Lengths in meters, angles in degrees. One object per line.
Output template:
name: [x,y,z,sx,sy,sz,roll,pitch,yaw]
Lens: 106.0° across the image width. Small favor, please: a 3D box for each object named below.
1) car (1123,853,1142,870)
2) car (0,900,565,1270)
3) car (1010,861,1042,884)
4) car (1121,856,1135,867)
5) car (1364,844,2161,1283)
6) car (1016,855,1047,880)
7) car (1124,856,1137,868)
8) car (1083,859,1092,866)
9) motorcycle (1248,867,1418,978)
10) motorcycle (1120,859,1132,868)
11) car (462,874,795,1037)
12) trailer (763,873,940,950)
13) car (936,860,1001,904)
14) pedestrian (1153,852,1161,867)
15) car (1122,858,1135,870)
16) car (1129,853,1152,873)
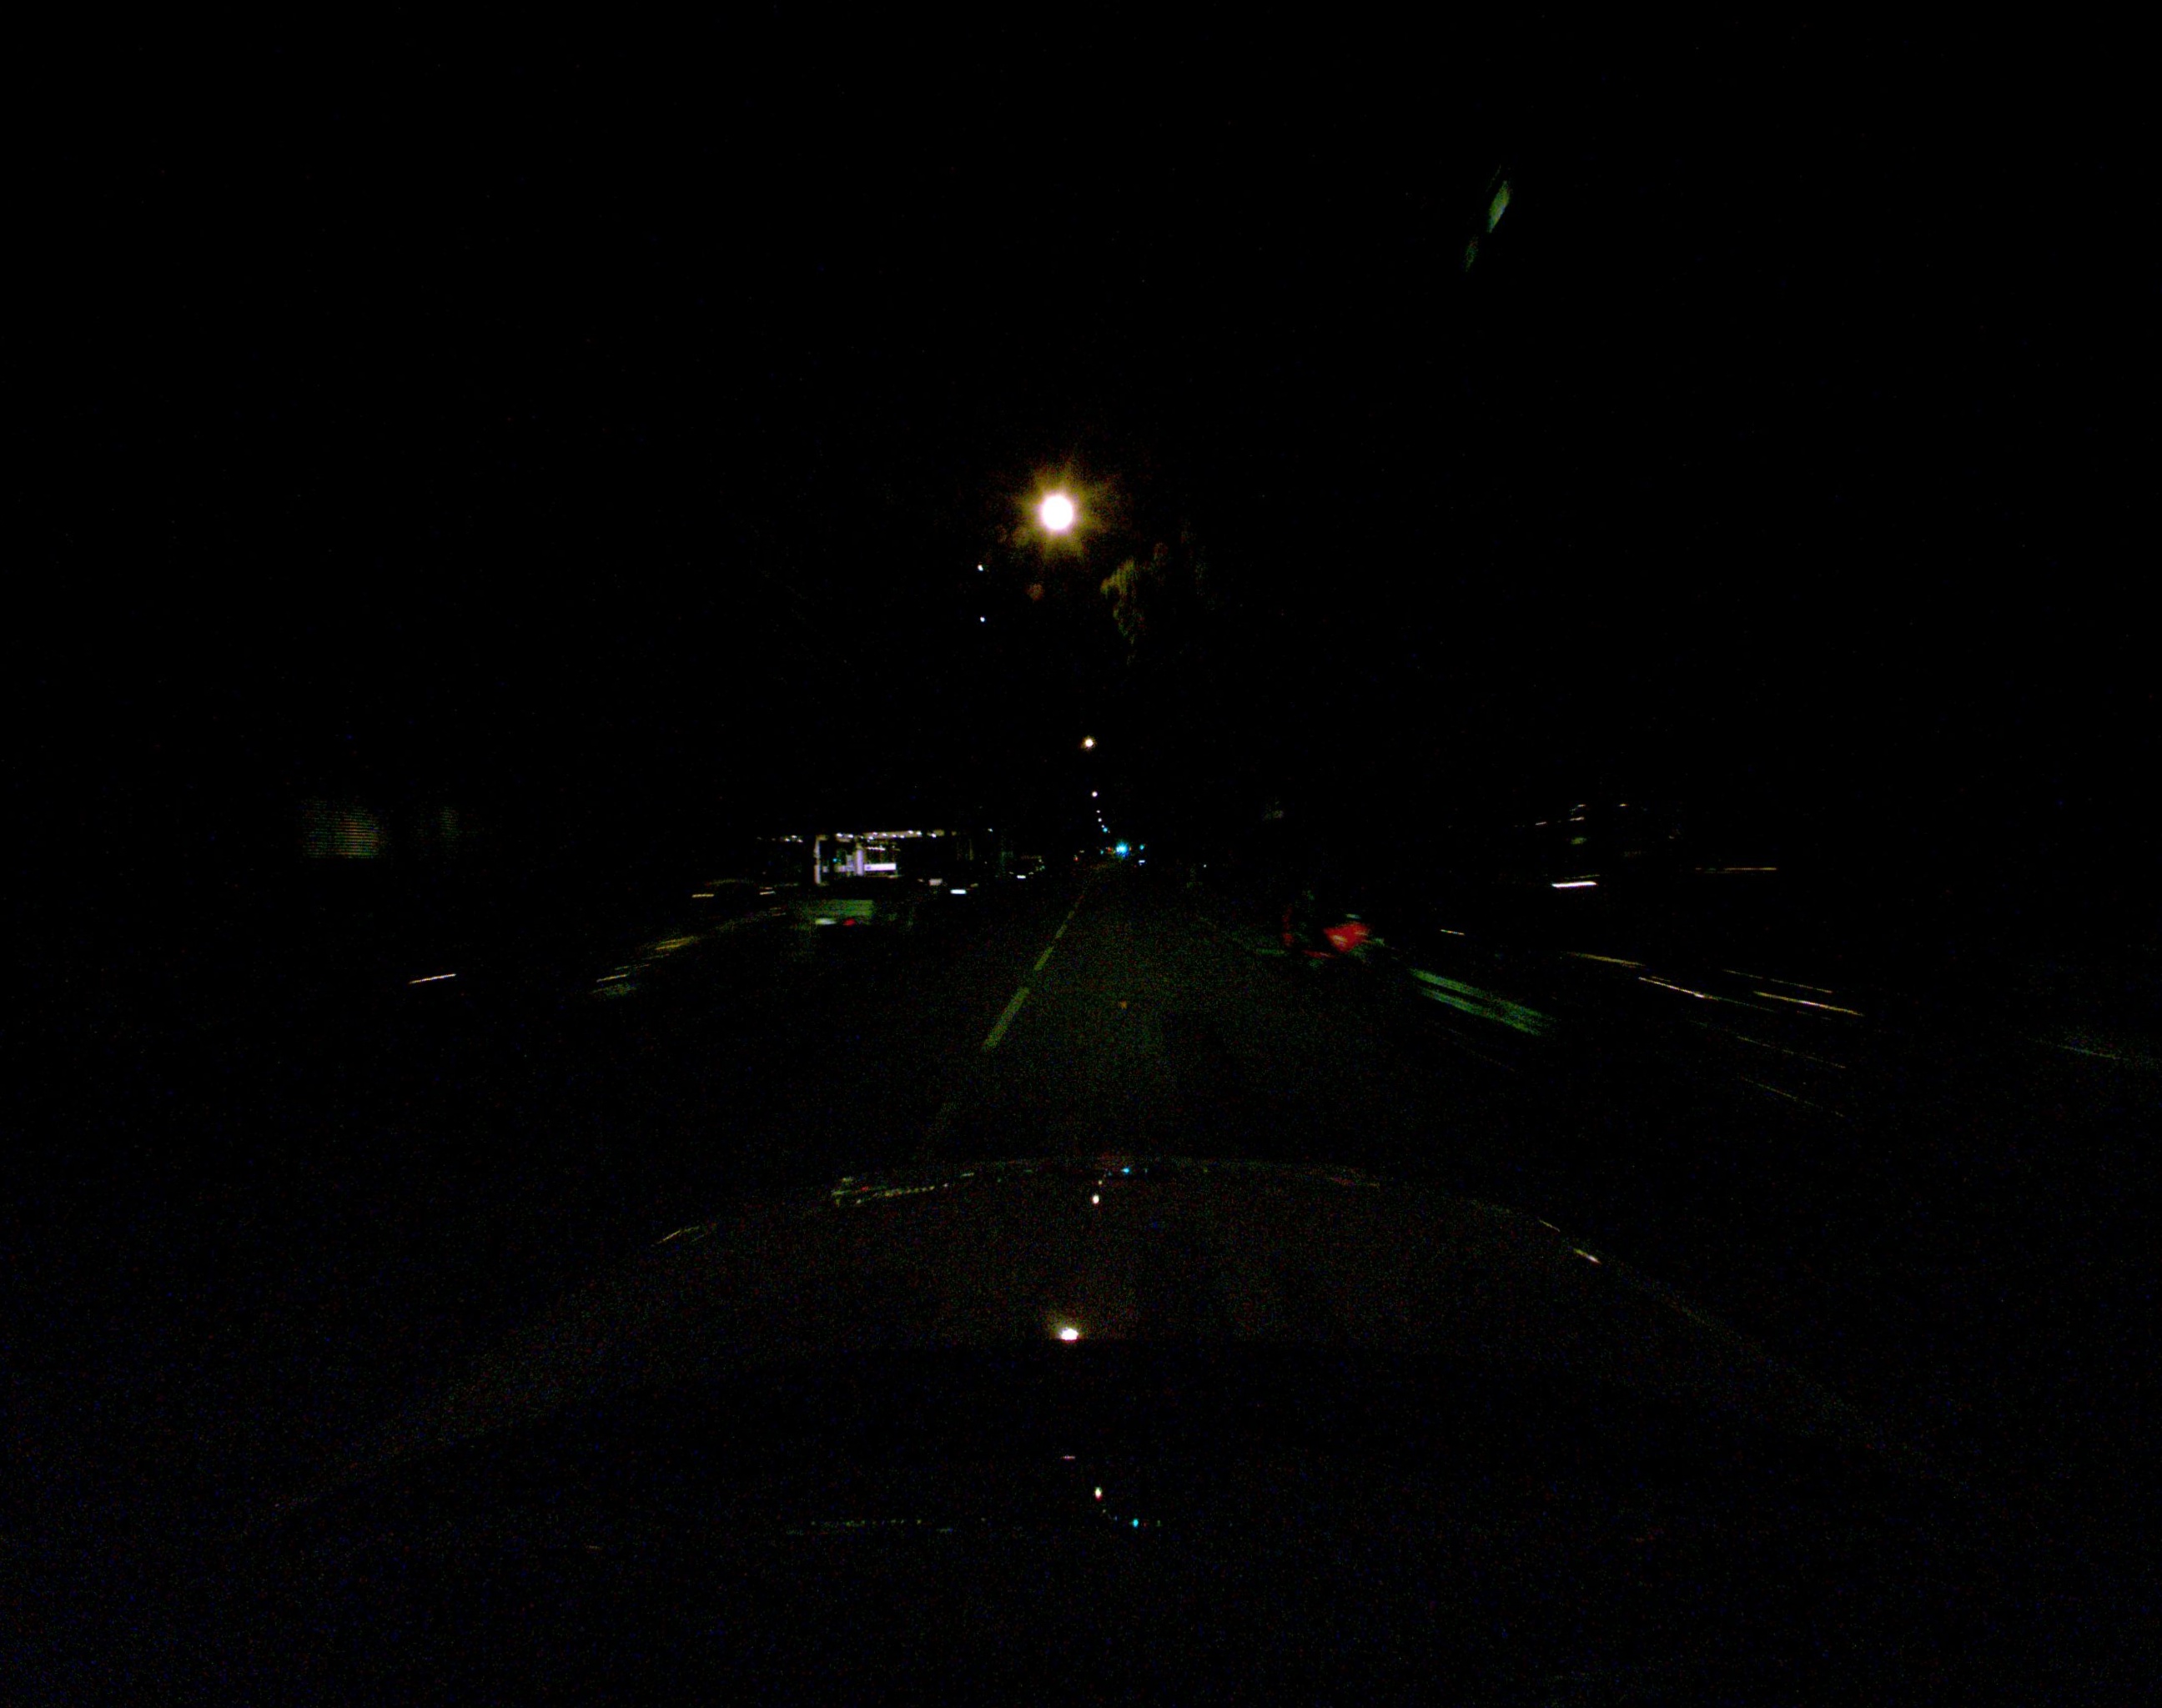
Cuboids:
car: [6.036,0.895,95.594,1.766,1.807,4.276,-4,0,-1]
car: [-5.456,1.092,4.860,1.698,1.411,4.634,0,0,1]
car: [-3.693,1.237,54.865,1.693,1.433,3.831,1,0,3]
car: [6.889,1.079,119.972,1.846,1.590,4.301,-2,0,1]
car: [3.171,0.739,4.899,1.661,1.429,4.152,-4,0,4]
car: [-3.702,0.988,61.190,1.815,1.811,4.213,1,0,3]
car: [6.802,1.110,112.427,1.585,1.534,4.139,-4,0,1]
car: [1.442,1.888,183.584,1.734,1.416,3.754,-2,0,2]
motorcycle: [3.316,0.848,11.004,0.930,1.283,2.217,-3,0,-23]
motorcycle: [6.376,1.374,116.442,0.630,1.270,2.077,-2,-1,36]
car: [-5.196,1.050,10.137,1.710,1.502,4.206,1,0,1]
trailer: [-4.802,1.146,18.082,2.102,1.335,5.439,0,0,3]
car: [-4.477,1.056,32.860,1.815,1.599,4.076,1,0,3]
pedestrian: [8.653,0.635,92.523,0.703,1.721,0.822,-3,-1,2]
car: [5.986,1.256,103.291,1.514,1.396,3.987,-3,0,3]
car: [5.464,0.846,75.270,1.846,1.654,4.211,-4,0,2]
